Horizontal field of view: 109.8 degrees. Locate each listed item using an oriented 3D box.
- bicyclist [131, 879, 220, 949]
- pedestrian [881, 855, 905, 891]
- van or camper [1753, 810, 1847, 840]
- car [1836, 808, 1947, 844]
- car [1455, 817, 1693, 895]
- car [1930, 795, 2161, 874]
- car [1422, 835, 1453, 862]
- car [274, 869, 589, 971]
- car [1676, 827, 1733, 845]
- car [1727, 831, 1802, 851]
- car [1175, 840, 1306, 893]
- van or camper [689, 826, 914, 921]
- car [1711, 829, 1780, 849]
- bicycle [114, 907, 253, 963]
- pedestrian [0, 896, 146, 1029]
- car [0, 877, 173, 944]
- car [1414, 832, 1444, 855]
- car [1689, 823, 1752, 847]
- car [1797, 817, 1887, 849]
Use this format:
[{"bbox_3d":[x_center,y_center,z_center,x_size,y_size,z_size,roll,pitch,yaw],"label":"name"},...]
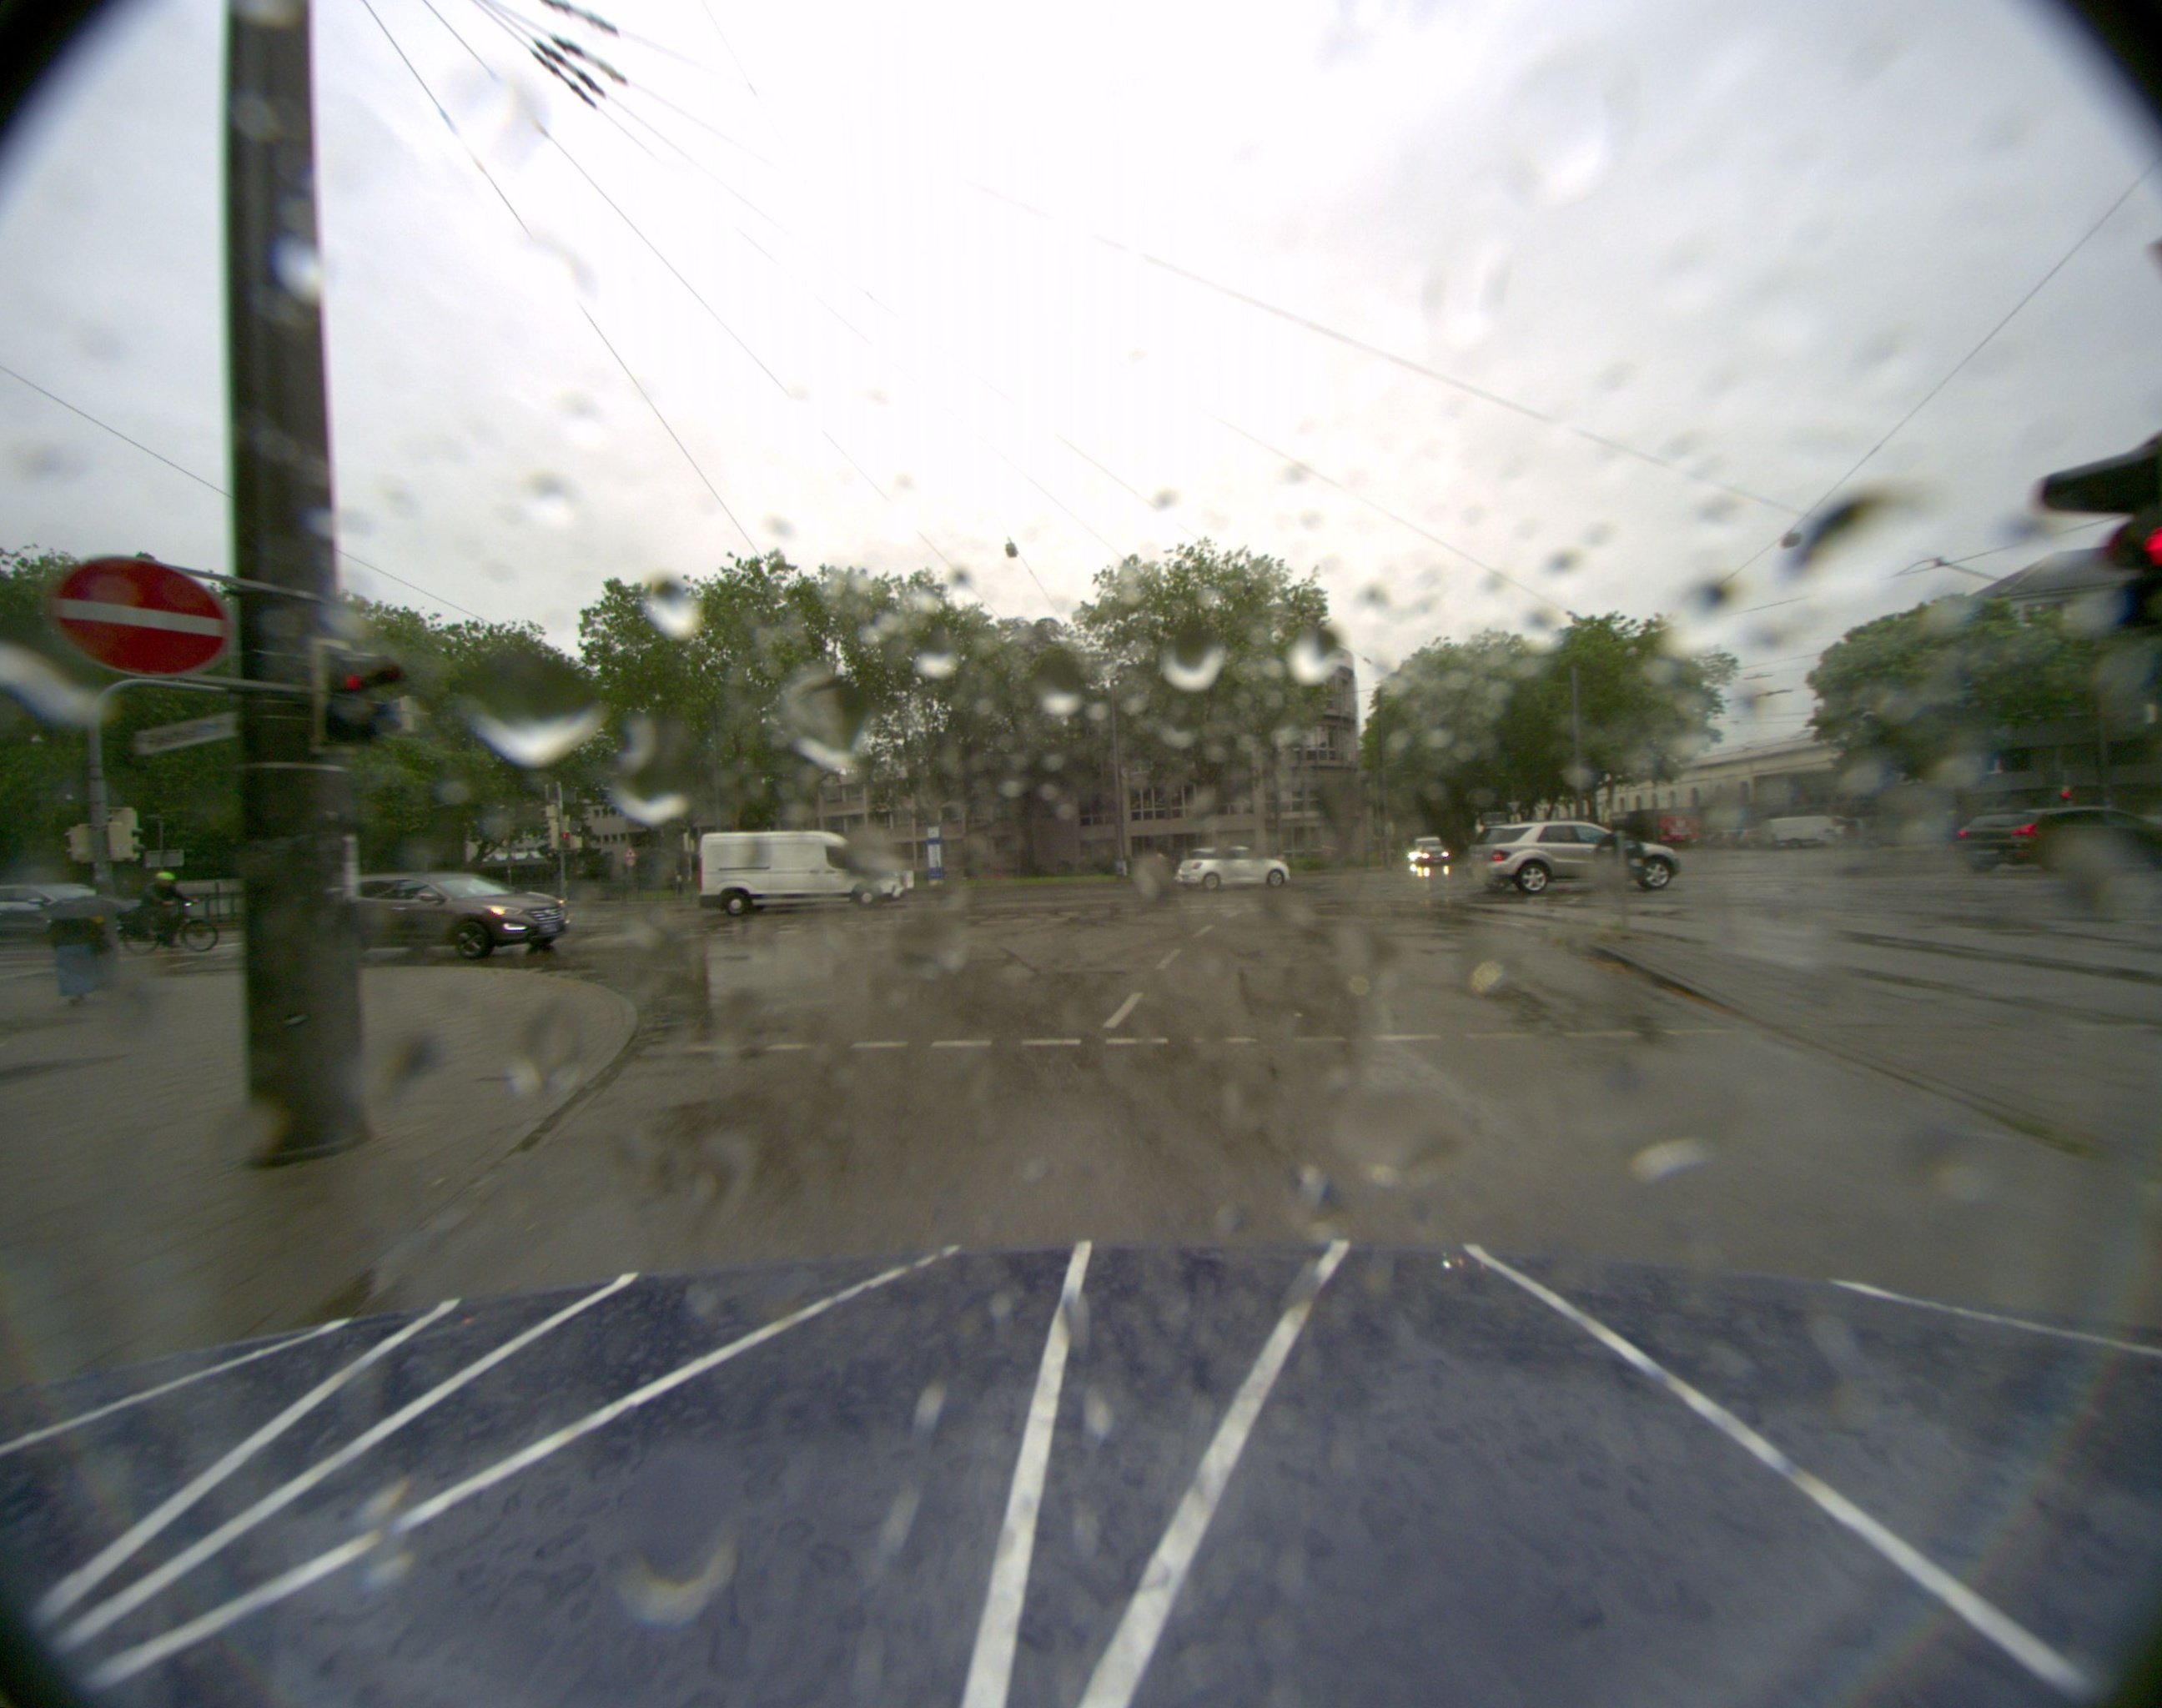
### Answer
[{"bbox_3d":[-20.469,1.334,17.202,0.805,1.462,0.927,-2,2,-5],"label":"bicyclist"},{"bbox_3d":[-8.806,0.883,35.549,0.719,1.601,0.733,-4,1,-44],"label":"pedestrian"},{"bbox_3d":[53.143,-2.136,56.245,4.645,2.063,2.002,-1,1,18],"label":"van or camper"},{"bbox_3d":[51.439,-1.756,48.348,4.387,2.002,2.070,-2,2,25],"label":"car"},{"bbox_3d":[12.249,0.032,19.130,4.675,1.637,1.914,-3,2,3],"label":"car"},{"bbox_3d":[24.537,-0.503,19.102,4.186,1.700,1.807,-3,2,4],"label":"car"},{"bbox_3d":[26.857,-0.421,57.127,1.799,1.761,4.006,-4,0,28],"label":"car"},{"bbox_3d":[-12.993,1.285,15.421,4.676,1.637,1.914,-3,2,2],"label":"car"},{"bbox_3d":[60.589,-1.750,73.902,3.990,1.647,1.789,0,2,25],"label":"car"},{"bbox_3d":[55.075,-1.060,61.306,3.991,1.605,2.003,0,1,20],"label":"car"},{"bbox_3d":[5.558,0.405,26.662,4.075,1.578,1.805,-3,1,-14],"label":"car"},{"bbox_3d":[-8.333,0.540,23.249,5.969,2.457,2.180,-3,1,-7],"label":"van or camper"},{"bbox_3d":[57.053,-1.288,65.321,3.991,1.605,2.003,0,1,20],"label":"car"},{"bbox_3d":[-20.255,1.812,17.188,1.997,1.082,0.818,-2,2,-3],"label":"bicycle"},{"bbox_3d":[-14.355,1.487,10.820,1.108,1.657,0.995,-5,2,-44],"label":"pedestrian"},{"bbox_3d":[-29.181,1.613,21.570,4.245,1.625,1.848,-3,2,-3],"label":"car"},{"bbox_3d":[29.034,-0.876,63.542,2.000,1.762,4.005,-1,1,21],"label":"car"},{"bbox_3d":[57.463,-1.722,68.402,3.990,1.918,2.003,-2,2,29],"label":"car"},{"bbox_3d":[53.417,-1.474,53.433,3.993,2.002,2.001,-3,1,11],"label":"car"}]
